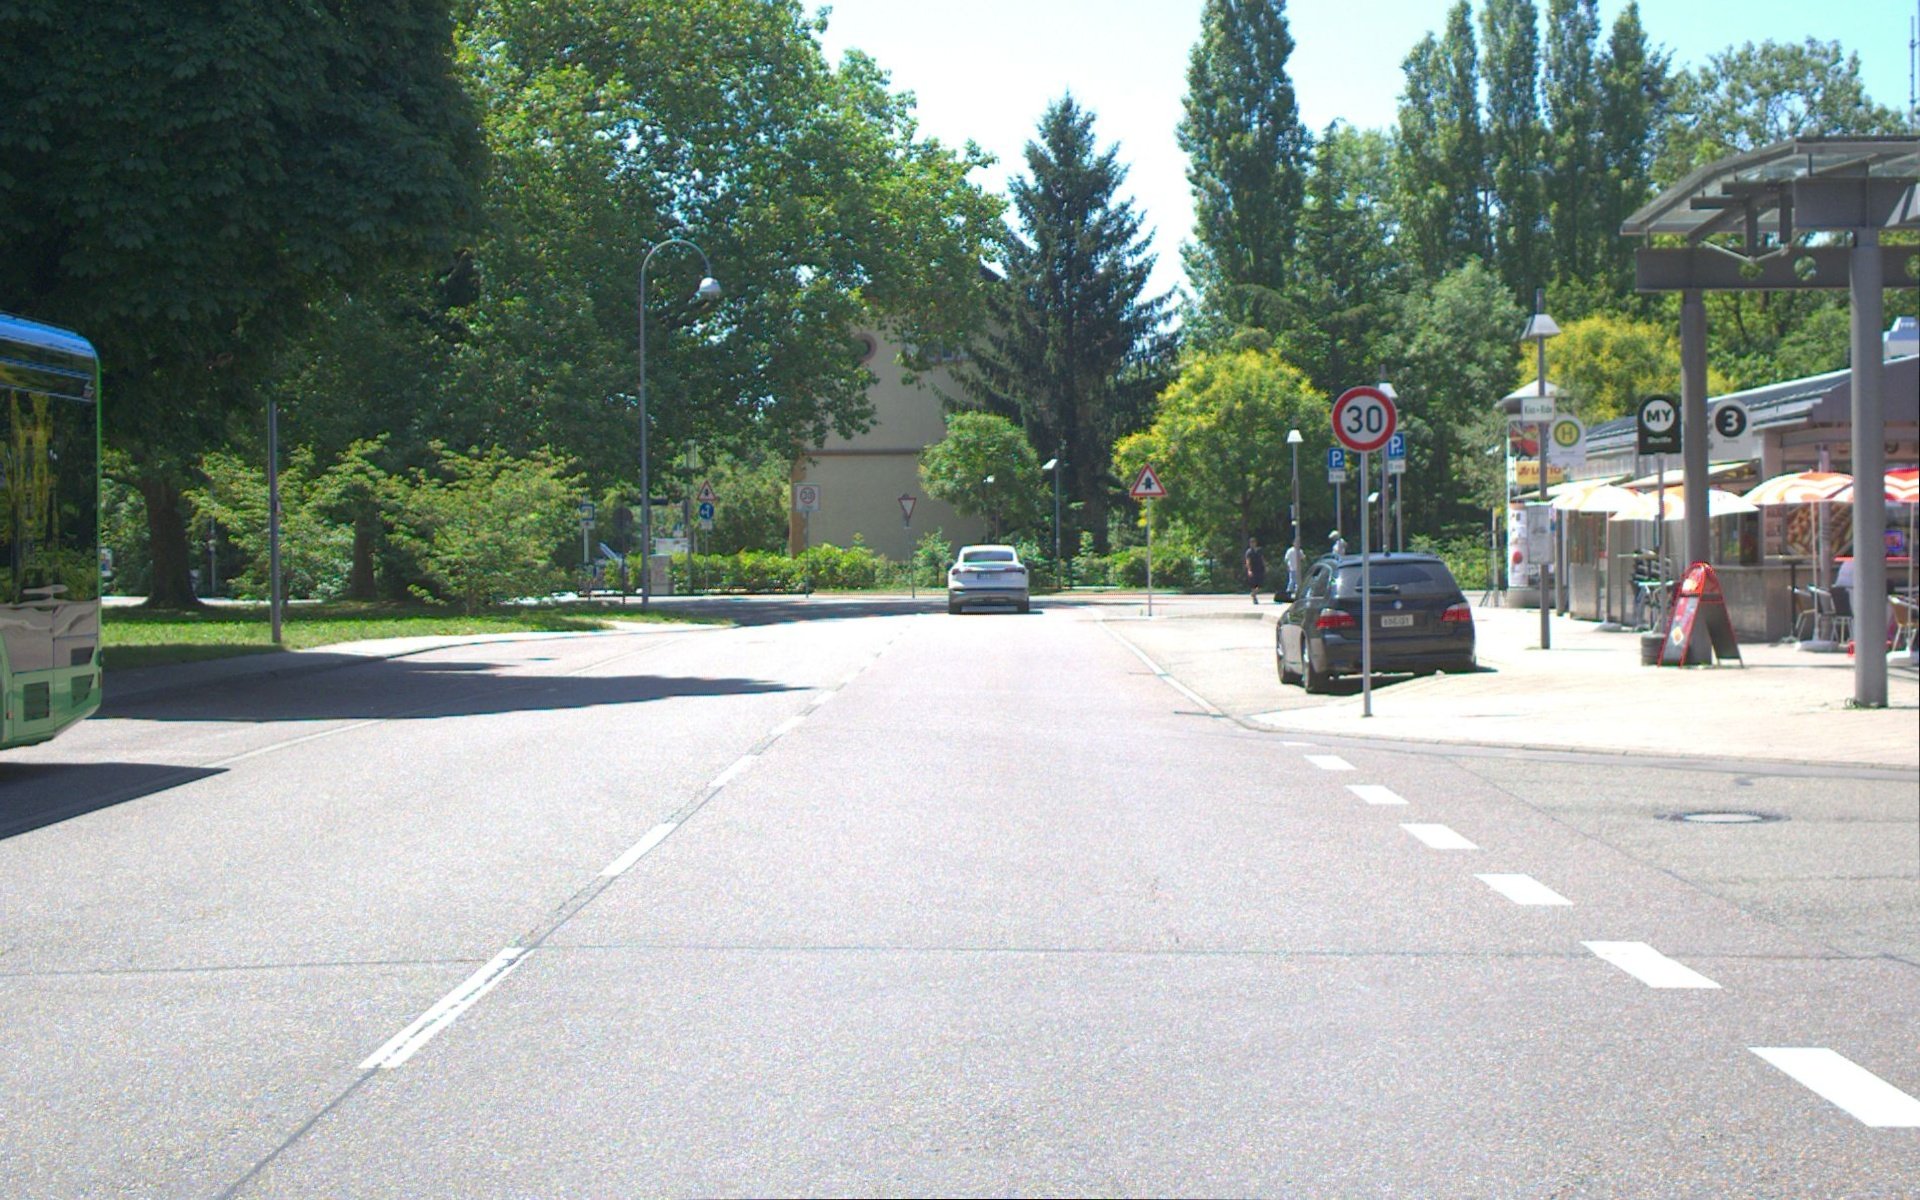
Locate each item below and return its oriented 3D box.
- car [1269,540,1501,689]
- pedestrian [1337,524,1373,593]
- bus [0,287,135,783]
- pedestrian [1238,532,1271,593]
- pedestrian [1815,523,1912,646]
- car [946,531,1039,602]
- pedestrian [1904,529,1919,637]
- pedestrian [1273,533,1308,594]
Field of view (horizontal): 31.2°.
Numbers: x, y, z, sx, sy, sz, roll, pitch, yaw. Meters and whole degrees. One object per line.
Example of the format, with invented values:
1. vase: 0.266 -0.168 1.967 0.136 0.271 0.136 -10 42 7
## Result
1. car: 4.656 0.115 38.315 1.927 1.455 4.725 -3 1 0
2. pedestrian: 11.296 -1.185 98.385 0.854 1.959 0.806 0 1 -5
3. bus: -7.764 -0.364 20.028 2.809 3.271 12.426 0 1 0
4. pedestrian: 7.969 -1.008 93.135 0.636 1.644 0.749 0 -1 29
5. pedestrian: 10.591 -0.190 40.277 0.892 1.413 0.688 -1 1 -37
6. car: 0.820 -0.839 83.044 1.983 1.621 4.778 -1 1 4
7. pedestrian: 12.062 -0.215 41.842 0.892 1.308 0.688 -1 1 -34
8. pedestrian: 9.109 -1.002 94.749 0.721 1.644 0.749 0 -1 29
